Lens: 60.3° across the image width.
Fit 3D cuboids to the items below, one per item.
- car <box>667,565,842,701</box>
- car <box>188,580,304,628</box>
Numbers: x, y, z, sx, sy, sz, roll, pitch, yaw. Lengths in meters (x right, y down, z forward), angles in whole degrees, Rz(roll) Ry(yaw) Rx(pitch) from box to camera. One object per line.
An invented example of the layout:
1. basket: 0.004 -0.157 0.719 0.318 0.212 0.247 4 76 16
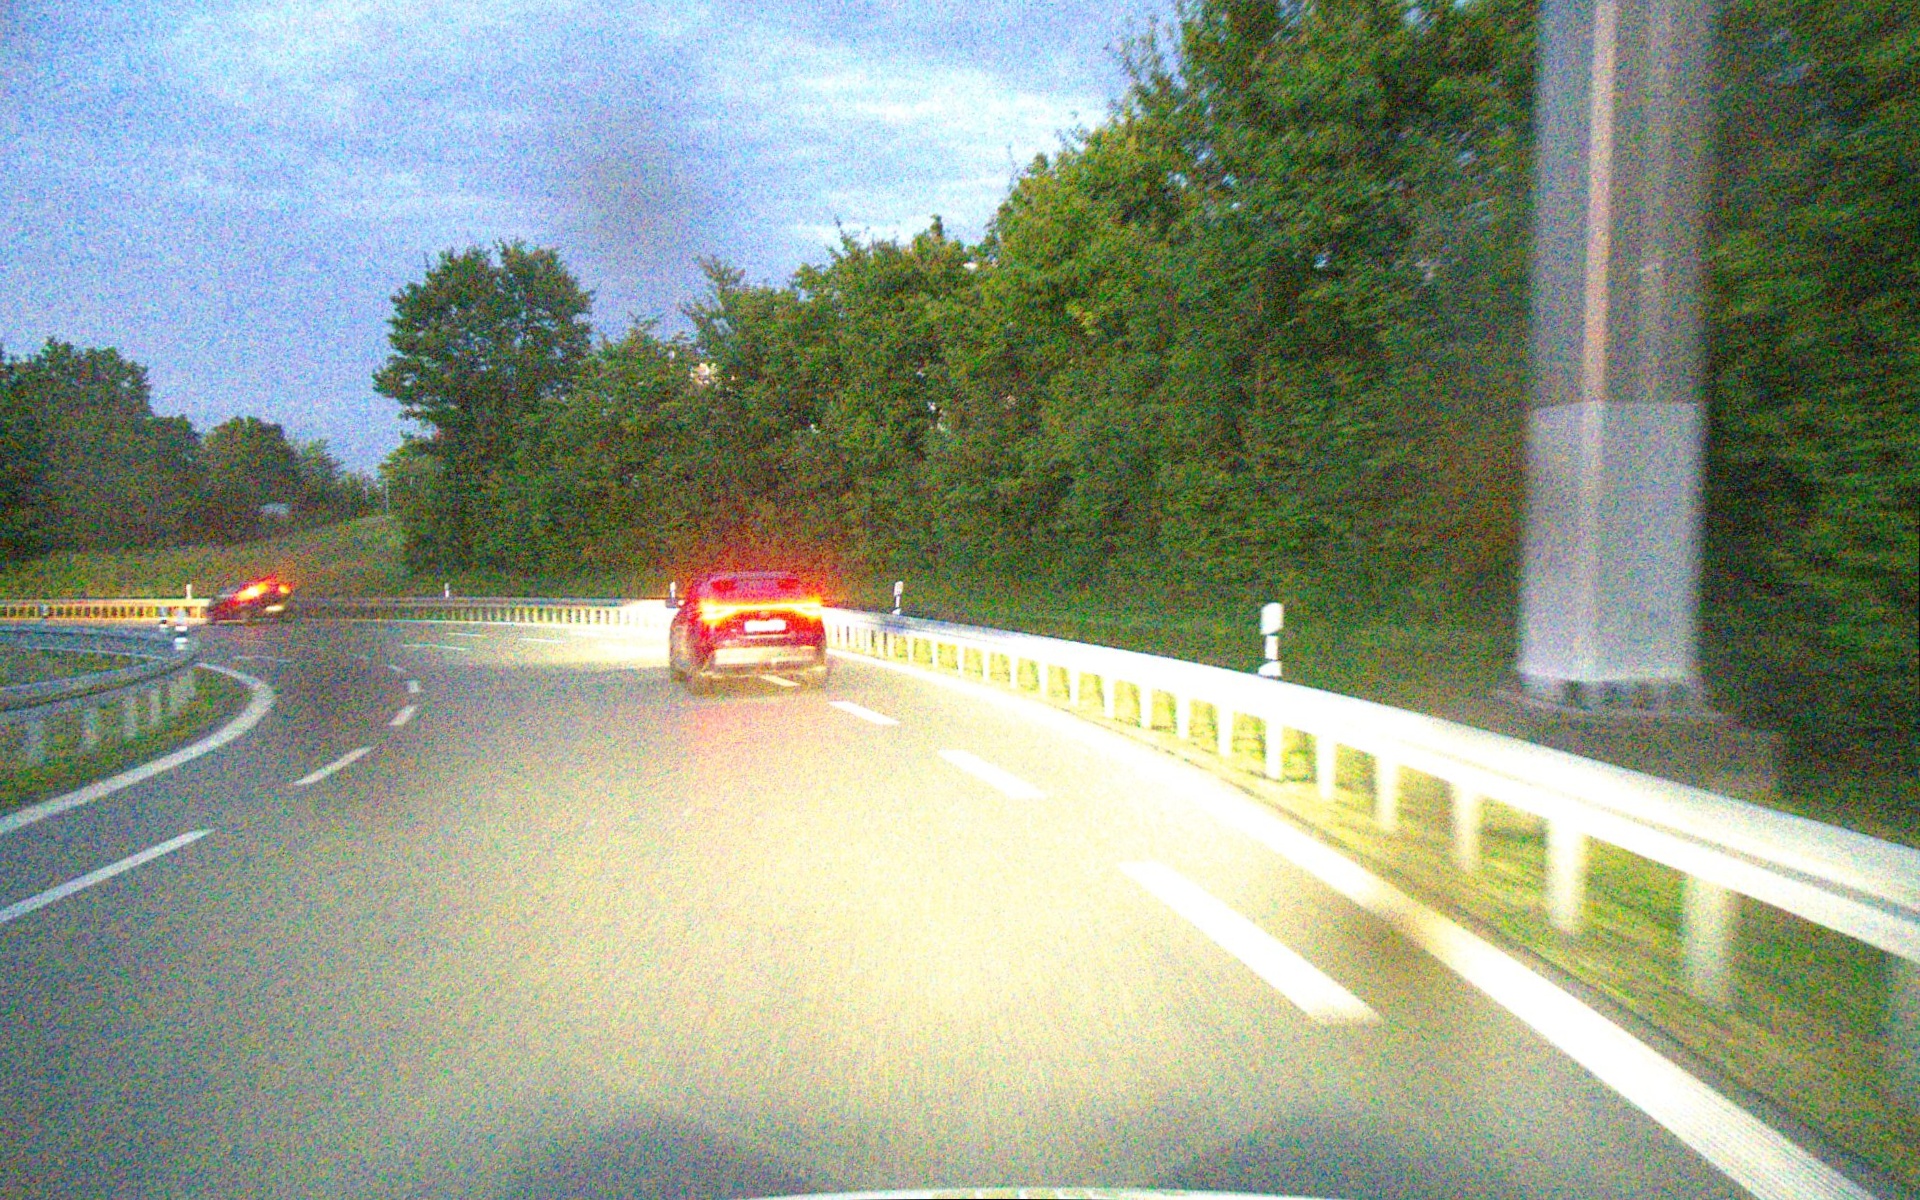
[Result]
1. car: -3.016 0.388 23.508 1.960 1.688 4.299 -2 1 -14
2. car: -25.657 0.137 59.400 3.917 1.626 1.994 2 0 33
